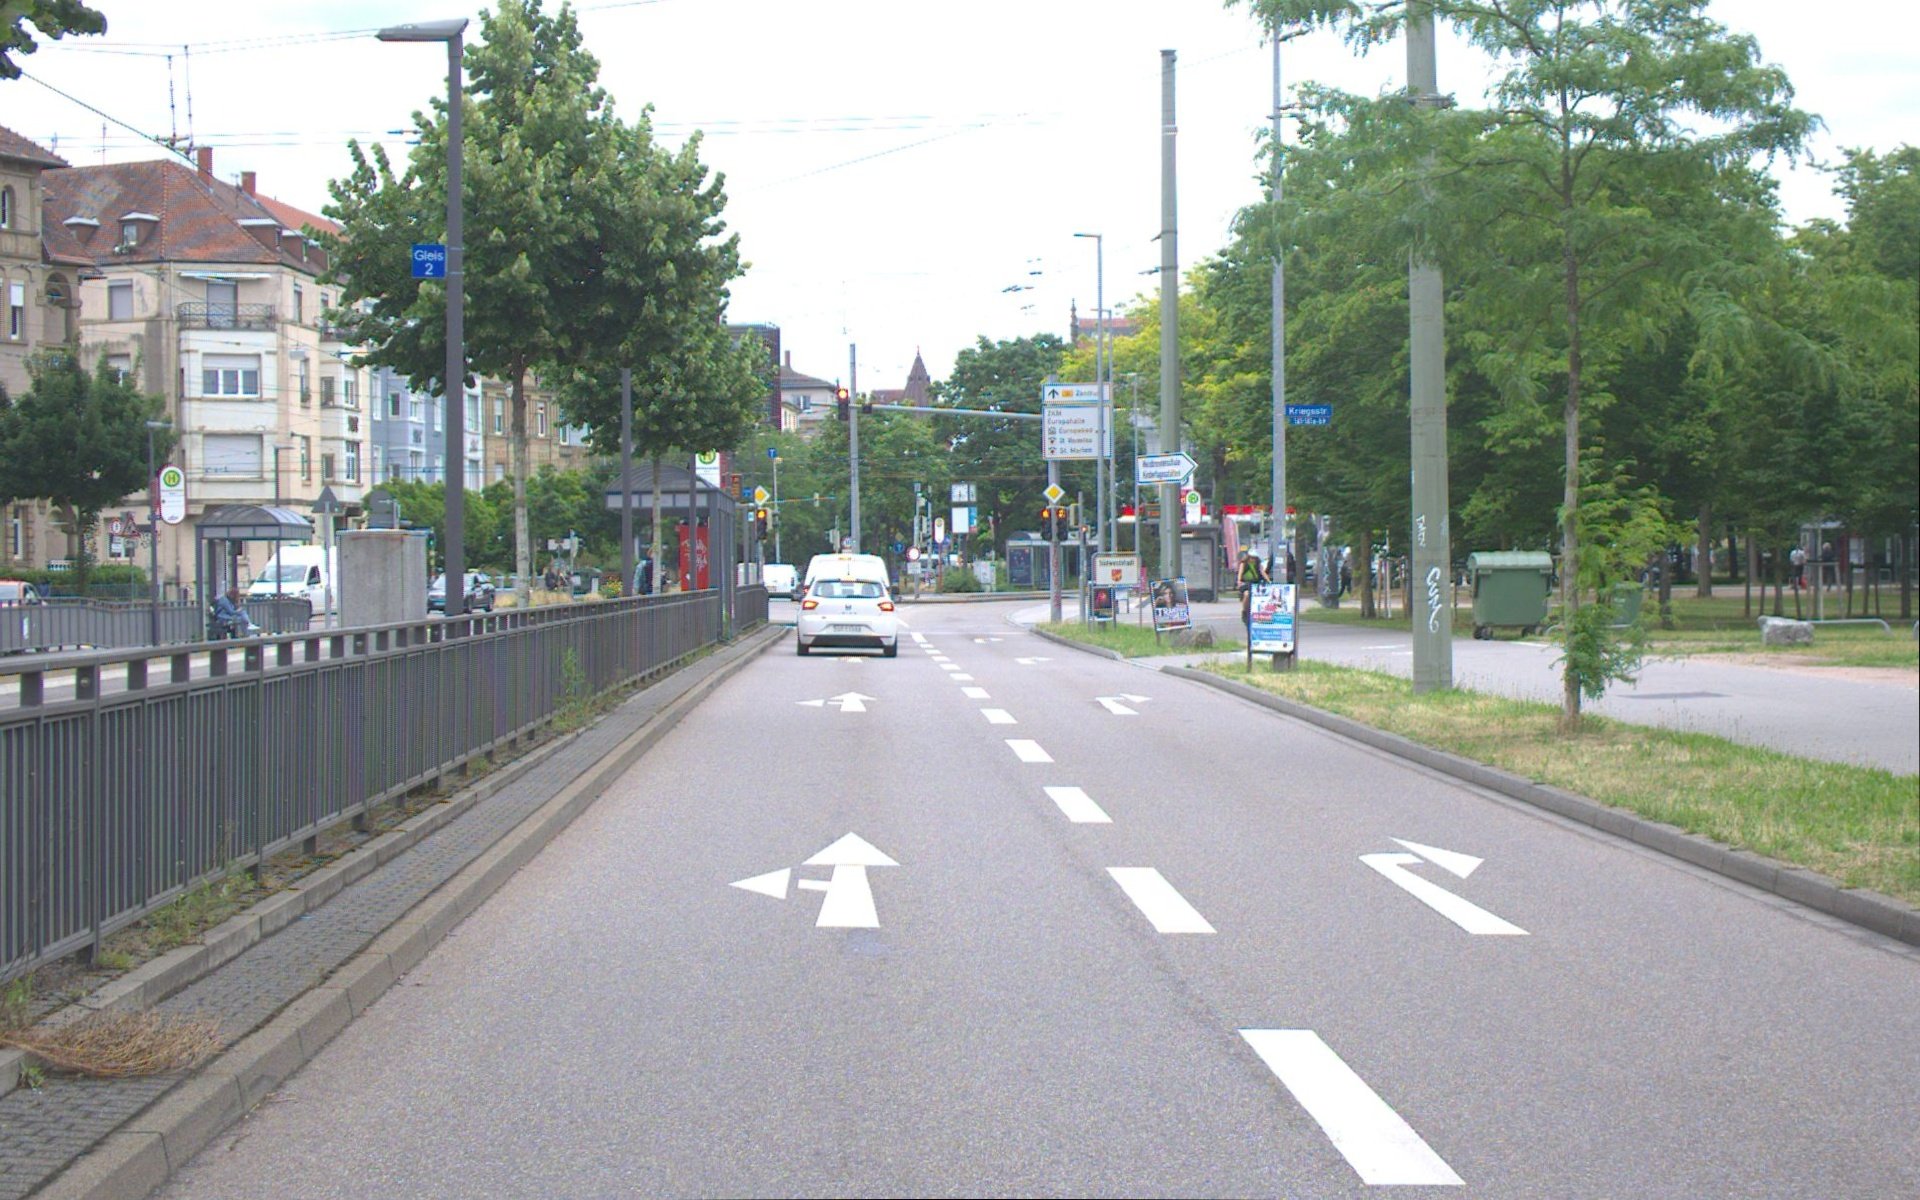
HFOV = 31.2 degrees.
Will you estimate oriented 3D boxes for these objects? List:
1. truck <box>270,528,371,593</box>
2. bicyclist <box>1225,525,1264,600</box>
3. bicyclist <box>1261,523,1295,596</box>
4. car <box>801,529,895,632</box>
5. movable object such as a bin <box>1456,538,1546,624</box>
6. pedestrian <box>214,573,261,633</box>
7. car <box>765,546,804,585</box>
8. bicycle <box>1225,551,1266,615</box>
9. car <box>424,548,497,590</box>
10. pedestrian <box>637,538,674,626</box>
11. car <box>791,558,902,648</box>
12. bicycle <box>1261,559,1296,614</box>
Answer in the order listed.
[{"bbox_3d":[-20.434,-1.249,110.055,1.788,2.026,5.395,-1,0,5],"label":"truck"},{"bbox_3d":[5.300,-0.707,63.941,0.679,1.375,0.727,-1,1,7],"label":"bicyclist"},{"bbox_3d":[6.806,-0.868,73.607,0.679,1.532,0.673,-1,1,4],"label":"bicyclist"},{"bbox_3d":[-2.220,-0.398,68.056,1.782,1.956,4.383,-1,1,-2],"label":"car"},{"bbox_3d":[8.893,-0.312,56.554,1.282,1.385,1.159,-1,0,-1],"label":"movable object such as a bin"},{"bbox_3d":[-15.568,0.068,74.090,0.864,1.262,0.694,-1,1,-4],"label":"pedestrian"},{"bbox_3d":[-8.454,-1.656,165.793,1.770,1.867,3.887,-1,0,-2],"label":"car"},{"bbox_3d":[5.320,-0.328,63.942,0.679,1.151,1.897,-1,1,7],"label":"bicycle"},{"bbox_3d":[-18.176,-1.118,125.269,1.770,1.488,3.886,-1,0,5],"label":"car"},{"bbox_3d":[-5.158,-0.314,58.323,0.576,1.476,0.618,-1,1,-4],"label":"pedestrian"},{"bbox_3d":[-1.925,0.025,59.437,1.782,1.467,4.010,0,1,0],"label":"car"},{"bbox_3d":[6.822,-0.297,73.632,0.679,1.151,1.898,-1,1,4],"label":"bicycle"}]
